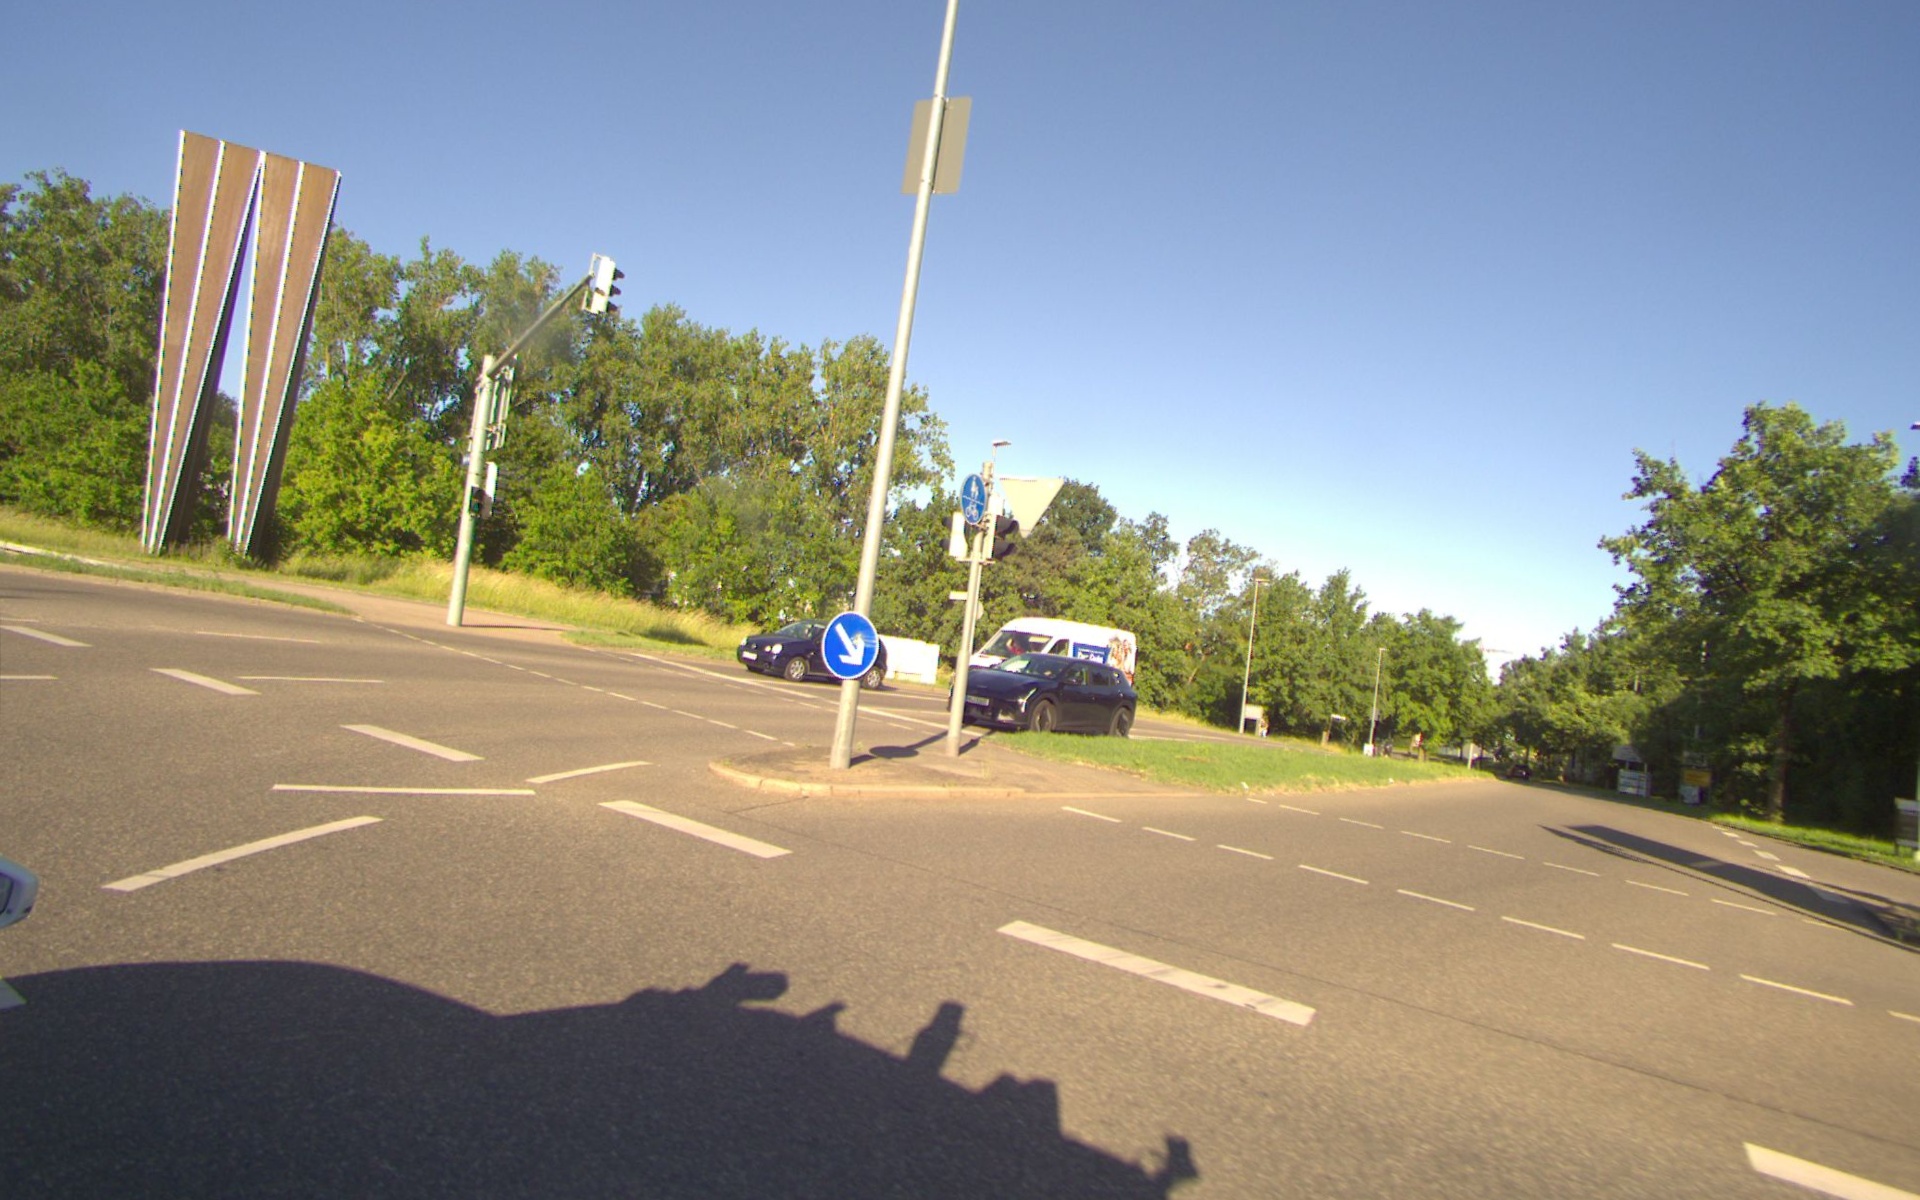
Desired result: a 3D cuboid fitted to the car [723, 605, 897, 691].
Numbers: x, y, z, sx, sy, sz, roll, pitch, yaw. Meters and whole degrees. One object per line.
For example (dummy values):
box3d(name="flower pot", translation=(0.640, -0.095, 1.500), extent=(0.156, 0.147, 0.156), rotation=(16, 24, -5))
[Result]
box3d(name="car", translation=(-3.468, 1.180, 23.823), extent=(1.670, 1.418, 3.747), rotation=(9, -3, 41))

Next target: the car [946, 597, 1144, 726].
box3d(name="car", translation=(2.257, 1.621, 25.052), extent=(2.078, 2.434, 5.273), rotation=(7, -4, 39))

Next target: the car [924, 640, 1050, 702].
box3d(name="car", translation=(0.854, 2.147, 30.226), extent=(1.590, 1.402, 3.685), rotation=(5, -3, 45))

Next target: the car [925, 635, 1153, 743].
box3d(name="car", translation=(1.610, 1.728, 18.923), extent=(1.971, 1.480, 4.460), rotation=(7, -3, 39))
